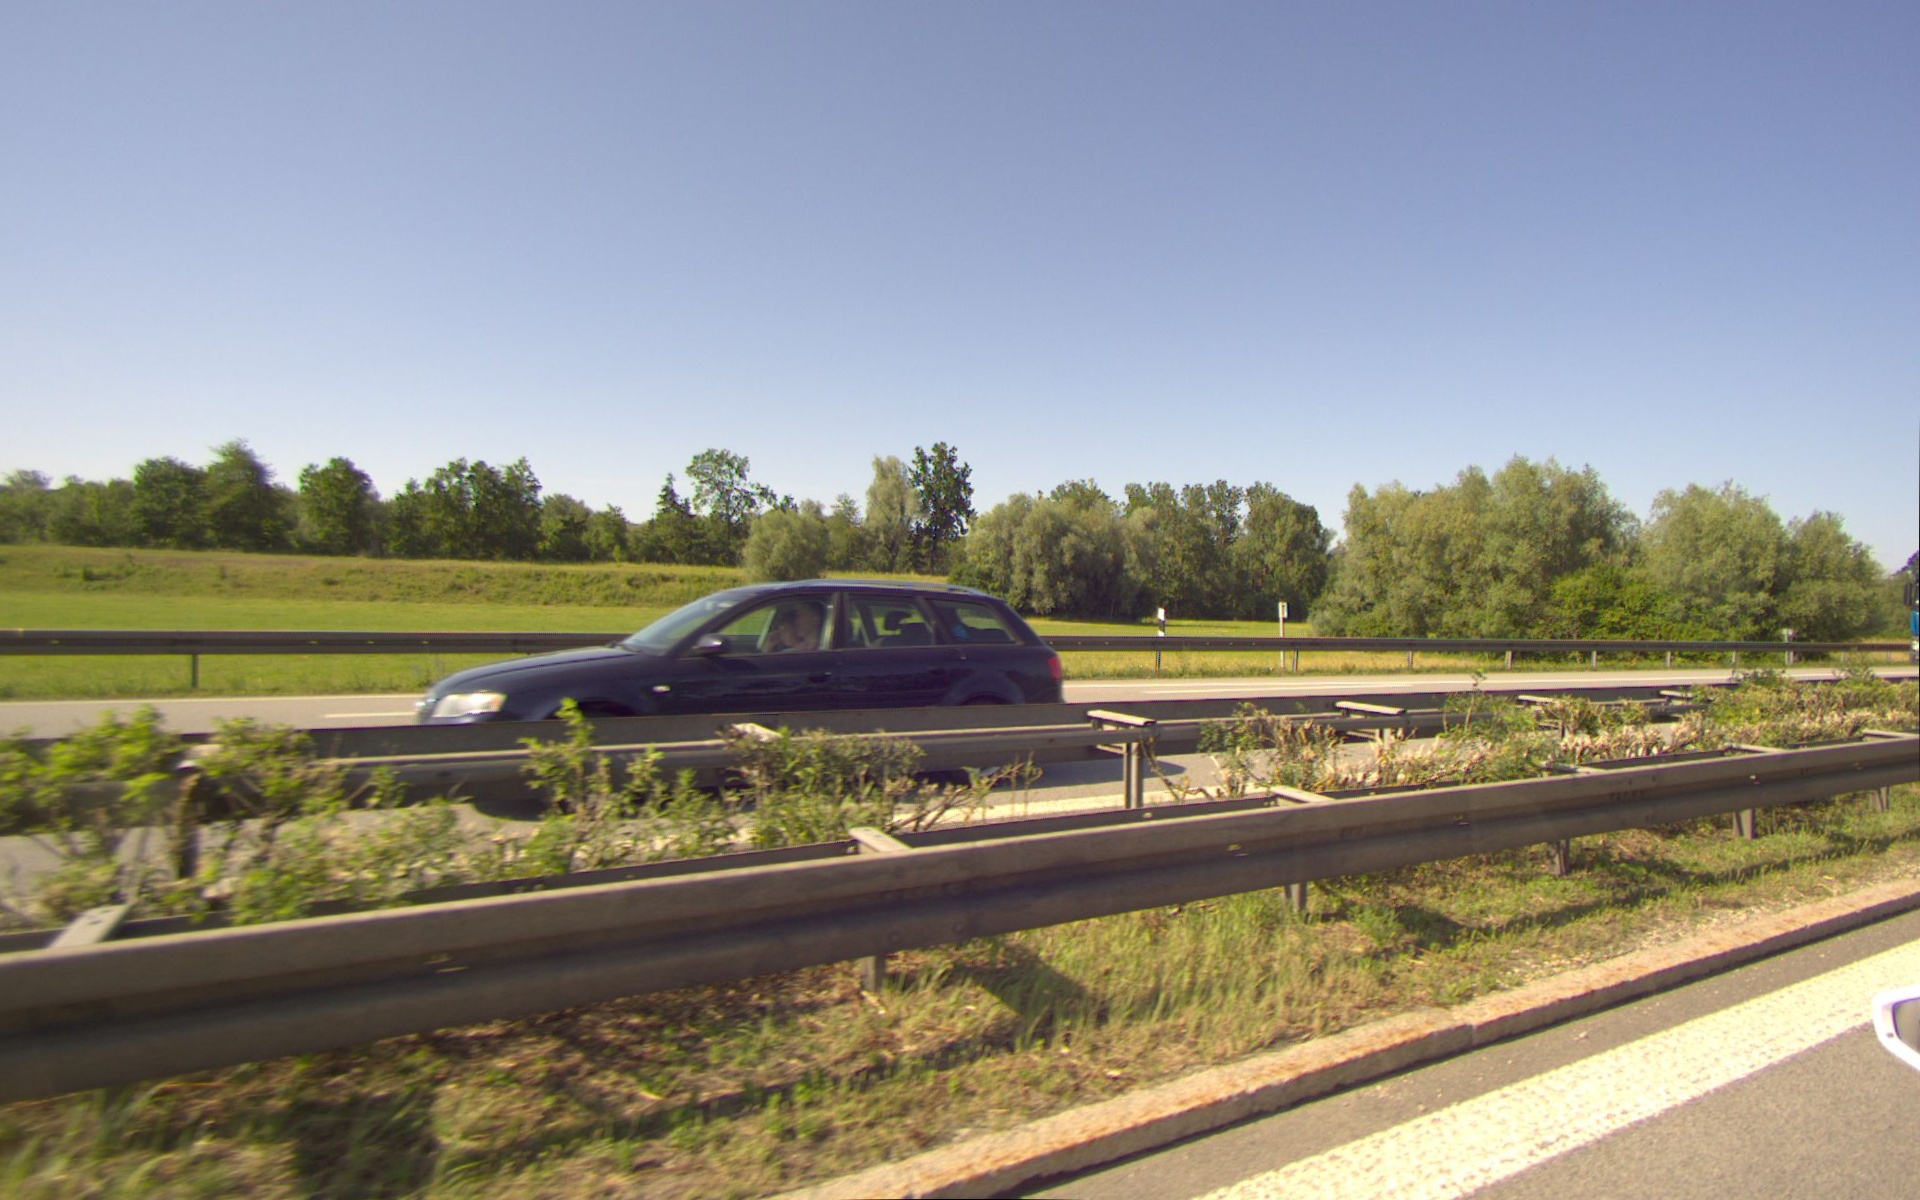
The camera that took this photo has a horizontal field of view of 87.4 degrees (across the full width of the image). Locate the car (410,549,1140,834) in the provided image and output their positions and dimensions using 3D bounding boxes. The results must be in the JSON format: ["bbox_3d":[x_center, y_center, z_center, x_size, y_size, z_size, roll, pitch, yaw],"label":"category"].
[{"bbox_3d":[-1.133,0.548,7.183,4.868,1.478,1.672,2,-2,-30],"label":"car"}]

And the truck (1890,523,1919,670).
[{"bbox_3d":[31.514,-0.037,30.743,6.260,4.360,2.727,1,0,-30],"label":"truck"}]
